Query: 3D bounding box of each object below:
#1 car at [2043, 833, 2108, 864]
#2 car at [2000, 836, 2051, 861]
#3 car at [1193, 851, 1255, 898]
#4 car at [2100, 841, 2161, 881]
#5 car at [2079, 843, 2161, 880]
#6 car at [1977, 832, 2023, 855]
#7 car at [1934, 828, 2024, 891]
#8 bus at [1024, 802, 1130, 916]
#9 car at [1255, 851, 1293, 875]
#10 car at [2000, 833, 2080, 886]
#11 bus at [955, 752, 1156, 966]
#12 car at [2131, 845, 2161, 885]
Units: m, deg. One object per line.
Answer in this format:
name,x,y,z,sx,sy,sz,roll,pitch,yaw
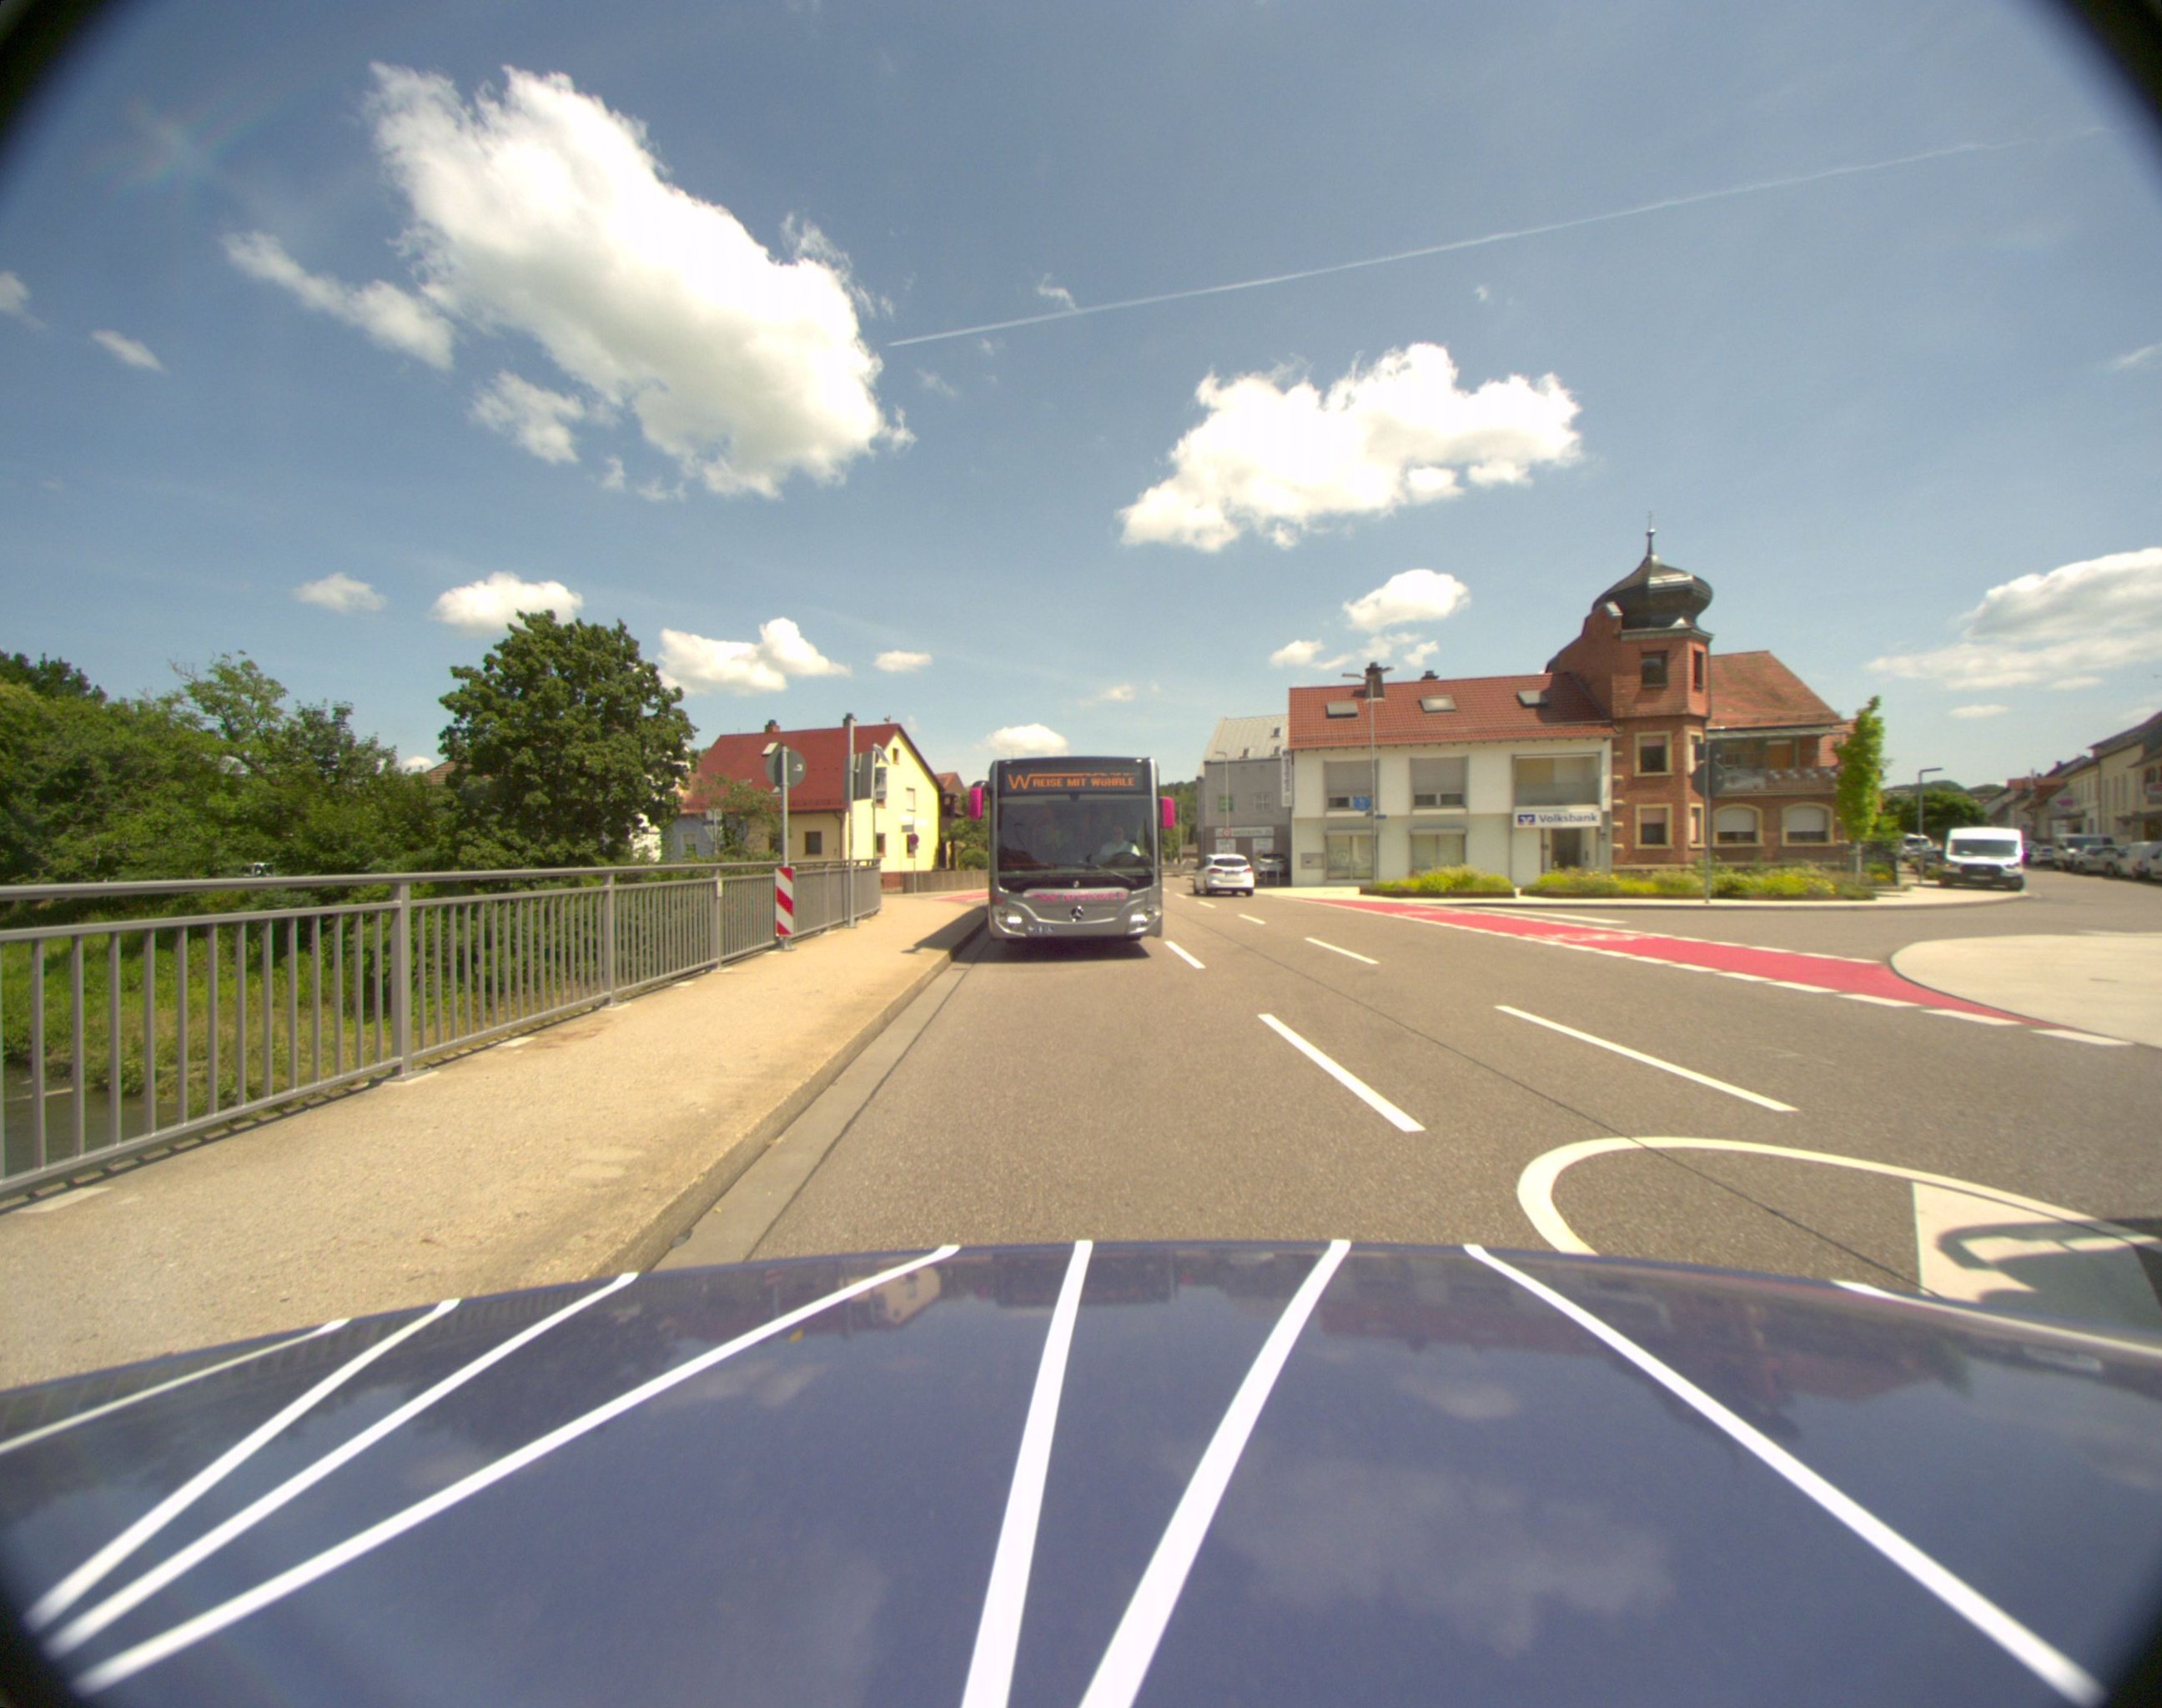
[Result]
car,62.215,-0.347,47.602,1.862,1.839,4.008,1,1,44
car,71.085,-0.441,57.232,1.862,1.839,4.008,1,1,44
car,5.523,0.735,29.797,1.819,1.640,4.000,-2,1,3
car,51.312,0.301,36.672,1.918,1.867,4.008,1,1,44
car,54.846,0.341,40.198,1.862,1.839,4.008,1,1,44
car,80.663,-0.915,66.748,1.994,2.002,4.008,1,1,42
car,36.068,0.185,30.500,5.122,2.332,2.167,0,1,-39
bus,-0.010,0.252,24.556,2.755,2.949,9.284,1,-2,1
car,13.277,0.631,52.171,1.995,1.565,4.260,0,0,22
car,44.620,0.216,35.435,5.122,2.332,2.167,0,1,-39
bus,-0.206,0.184,15.203,2.755,2.949,9.284,1,-2,2
car,47.973,0.470,32.895,2.063,1.718,4.008,1,1,41
